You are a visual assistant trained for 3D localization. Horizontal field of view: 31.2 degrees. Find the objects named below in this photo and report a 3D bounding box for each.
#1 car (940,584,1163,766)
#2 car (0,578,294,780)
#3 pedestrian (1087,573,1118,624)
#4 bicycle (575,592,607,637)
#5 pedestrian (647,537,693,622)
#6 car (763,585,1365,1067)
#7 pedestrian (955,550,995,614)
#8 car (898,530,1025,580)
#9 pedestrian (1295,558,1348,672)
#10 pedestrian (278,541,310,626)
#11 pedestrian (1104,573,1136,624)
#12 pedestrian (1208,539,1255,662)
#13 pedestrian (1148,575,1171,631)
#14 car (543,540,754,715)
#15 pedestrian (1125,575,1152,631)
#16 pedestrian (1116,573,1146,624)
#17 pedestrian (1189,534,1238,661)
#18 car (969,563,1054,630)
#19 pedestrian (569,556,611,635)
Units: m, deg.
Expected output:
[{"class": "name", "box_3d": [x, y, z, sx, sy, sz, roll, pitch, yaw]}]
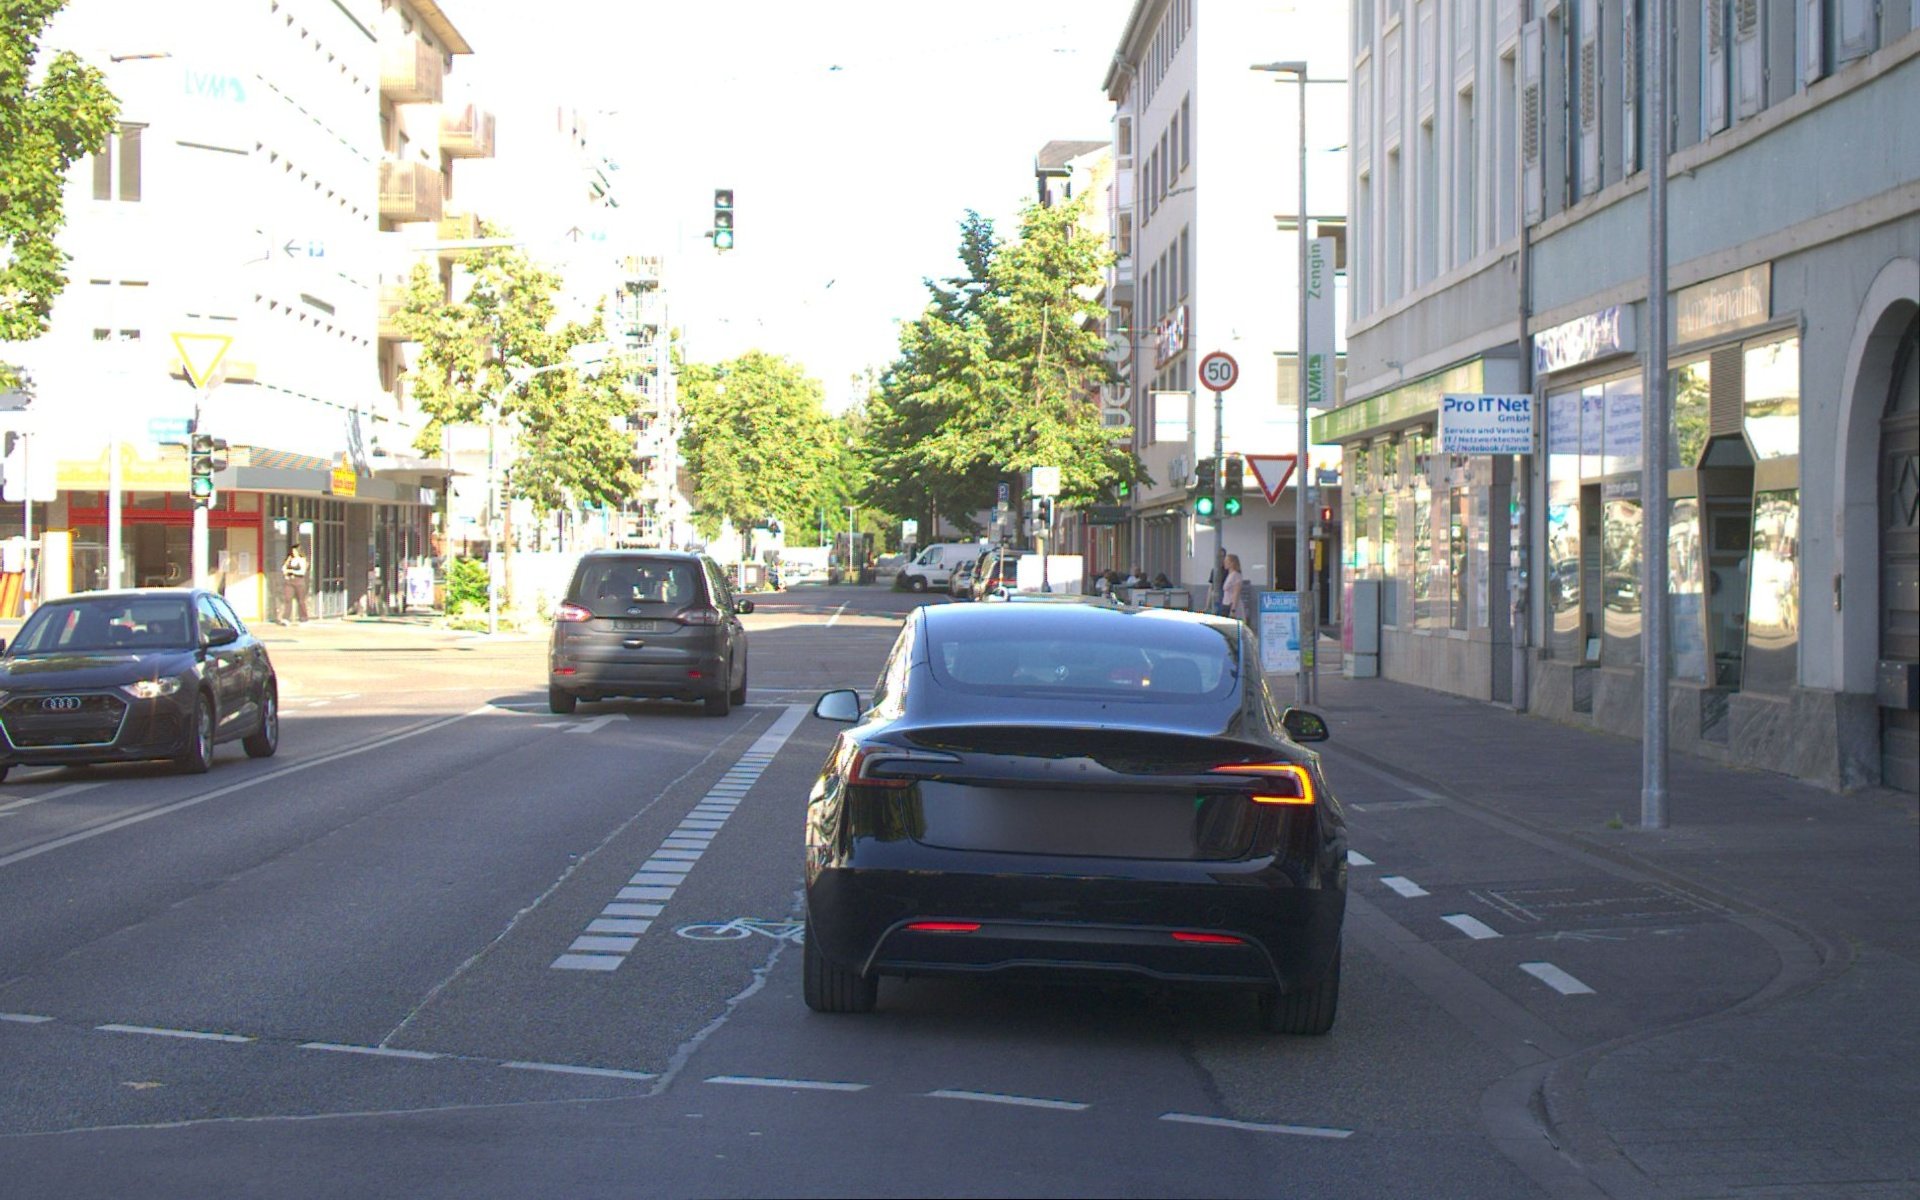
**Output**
[{"class": "car", "box_3d": [0.762, 0.592, 29.683, 1.762, 1.414, 4.354, 1, 0, 1]}, {"class": "car", "box_3d": [-6.348, 0.555, 26.507, 1.650, 1.393, 4.043, -1, 1, 0]}, {"class": "pedestrian", "box_3d": [3.783, -0.052, 91.566, 0.709, 1.343, 1.060, 0, 0, -4]}, {"class": "bicycle", "box_3d": [-8.098, 0.315, 75.379, 0.480, 0.952, 1.456, 0, 0, -15]}, {"class": "pedestrian", "box_3d": [-6.461, -0.459, 76.569, 0.778, 1.860, 1.002, -2, 1, -15]}, {"class": "car", "box_3d": [0.319, 0.697, 12.920, 1.869, 1.422, 4.364, 0, 1, 0]}, {"class": "pedestrian", "box_3d": [0.453, -0.547, 103.074, 0.958, 1.909, 1.104, 0, 0, 15]}, {"class": "car", "box_3d": [0.053, -1.926, 148.330, 5.391, 2.138, 2.000, 0, 0, -2]}, {"class": "pedestrian", "box_3d": [5.474, 0.218, 52.084, 0.690, 1.697, 0.912, -1, 1, 0]}, {"class": "pedestrian", "box_3d": [-13.477, -0.335, 69.567, 0.558, 1.703, 0.712, 0, 0, -4]}, {"class": "pedestrian", "box_3d": [4.204, -0.036, 90.460, 0.730, 1.343, 1.060, 0, 0, -3]}, {"class": "pedestrian", "box_3d": [3.917, 0.009, 49.669, 0.572, 1.753, 0.649, 1, 1, -1]}, {"class": "pedestrian", "box_3d": [4.745, 0.071, 81.747, 0.488, 1.317, 0.653, 0, 0, 7]}, {"class": "car", "box_3d": [-3.251, 0.251, 36.640, 1.904, 1.727, 4.288, 1, 1, -1]}, {"class": "pedestrian", "box_3d": [4.205, 0.076, 80.963, 0.586, 1.308, 0.560, 0, 0, -1]}, {"class": "pedestrian", "box_3d": [4.564, -0.053, 91.732, 0.730, 1.356, 0.959, 0, 0, -1]}, {"class": "pedestrian", "box_3d": [3.704, -0.037, 50.210, 0.640, 1.836, 0.681, 0, 1, -1]}, {"class": "car", "box_3d": [1.268, -0.103, 86.615, 2.001, 1.630, 4.288, 1, 1, -1]}, {"class": "pedestrian", "box_3d": [-8.119, -0.100, 75.388, 0.790, 1.706, 0.654, 1, 1, -16]}]
